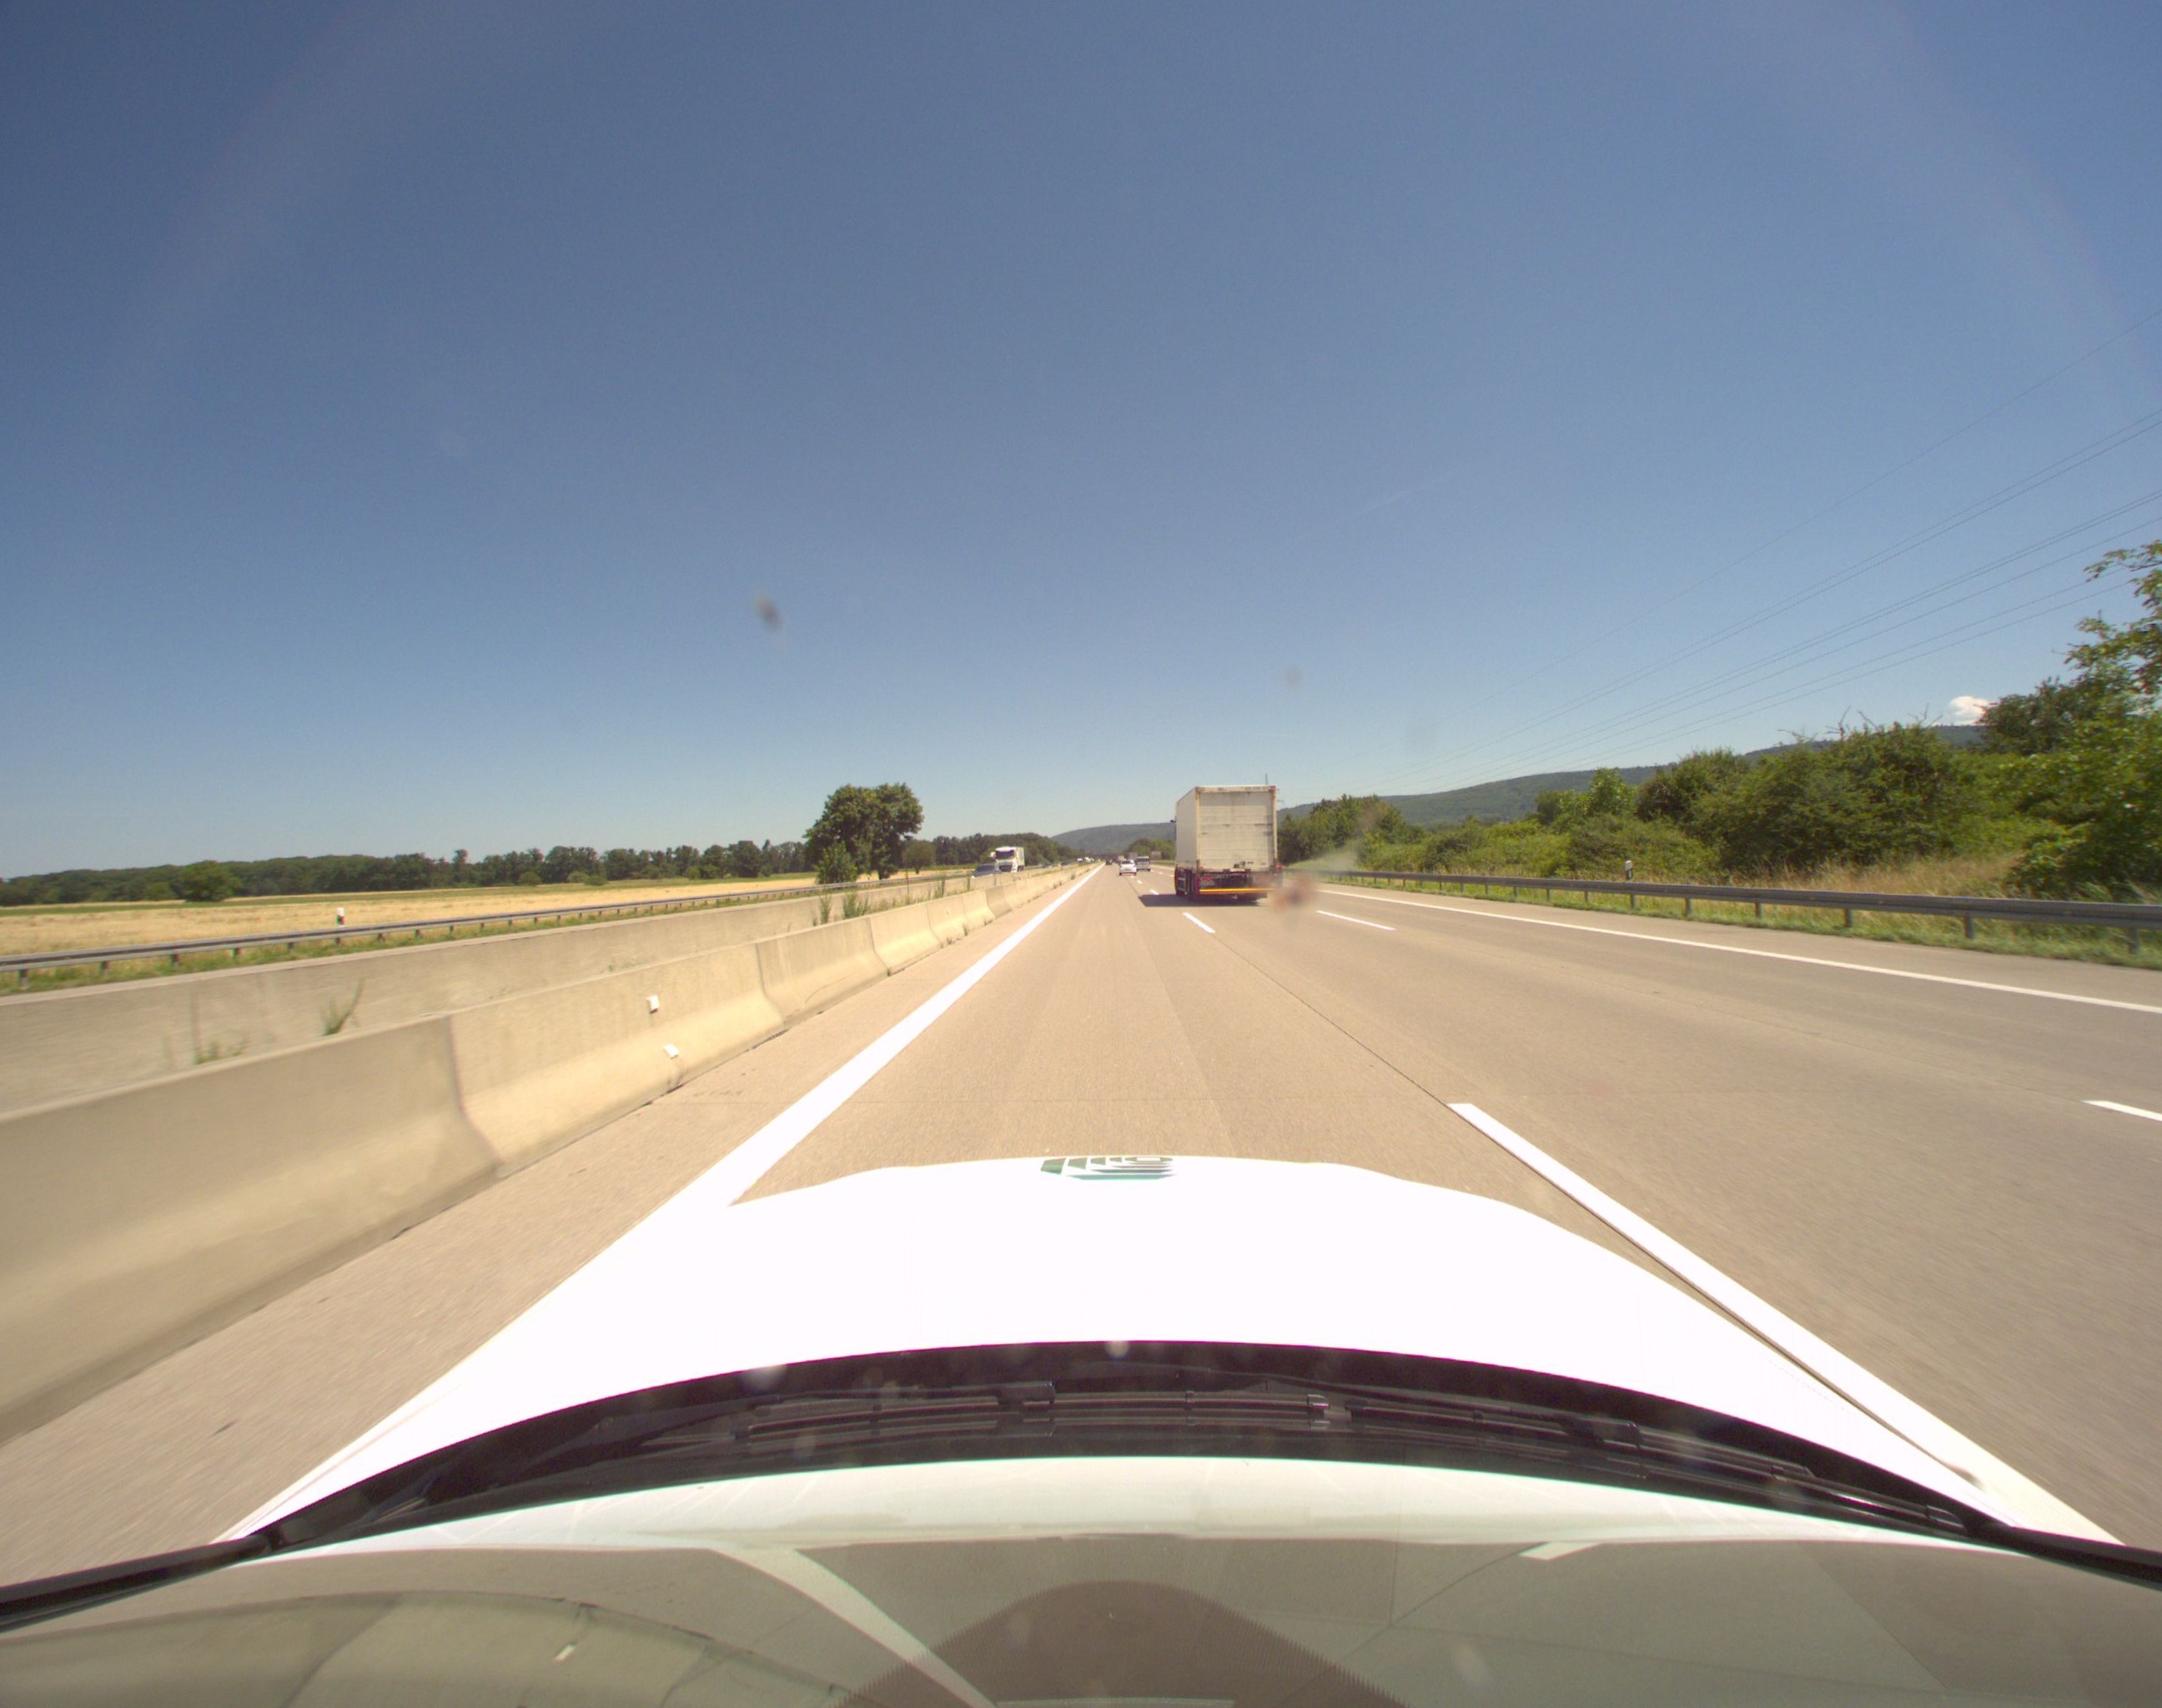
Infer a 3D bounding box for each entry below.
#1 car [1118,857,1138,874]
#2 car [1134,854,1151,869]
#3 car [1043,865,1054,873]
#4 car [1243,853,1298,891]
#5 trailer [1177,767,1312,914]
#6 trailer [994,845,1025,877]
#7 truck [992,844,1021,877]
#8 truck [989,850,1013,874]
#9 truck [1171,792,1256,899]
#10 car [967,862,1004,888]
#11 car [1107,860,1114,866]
[{"bbox_3d":[4.628,1.116,80.257,1.813,1.662,4.001,-1,0,1],"label":"car"},{"bbox_3d":[8.079,0.998,106.875,1.986,1.849,4.001,0,0,1],"label":"car"},{"bbox_3d":[-7.009,3.177,174.487,1.986,1.717,5.027,0,0,2],"label":"car"},{"bbox_3d":[9.677,0.903,41.879,1.986,1.849,4.001,1,0,1],"label":"car"},{"bbox_3d":[4.971,-0.329,26.915,2.571,3.878,10.375,-1,0,1],"label":"trailer"},{"bbox_3d":[-9.010,0.872,103.916,2.890,3.970,8.480,-1,0,2],"label":"trailer"},{"bbox_3d":[-9.116,0.826,100.194,2.890,3.970,5.047,-1,-1,1],"label":"truck"},{"bbox_3d":[-12.440,1.231,127.786,2.792,3.687,7.239,-1,0,2],"label":"truck"},{"bbox_3d":[5.078,-0.296,31.973,2.572,3.878,4.985,-1,-1,1],"label":"truck"},{"bbox_3d":[-6.601,1.432,56.564,1.856,1.729,4.143,-1,0,2],"label":"car"},{"bbox_3d":[8.494,2.532,230.972,1.922,1.794,4.001,-1,0,1],"label":"car"}]
